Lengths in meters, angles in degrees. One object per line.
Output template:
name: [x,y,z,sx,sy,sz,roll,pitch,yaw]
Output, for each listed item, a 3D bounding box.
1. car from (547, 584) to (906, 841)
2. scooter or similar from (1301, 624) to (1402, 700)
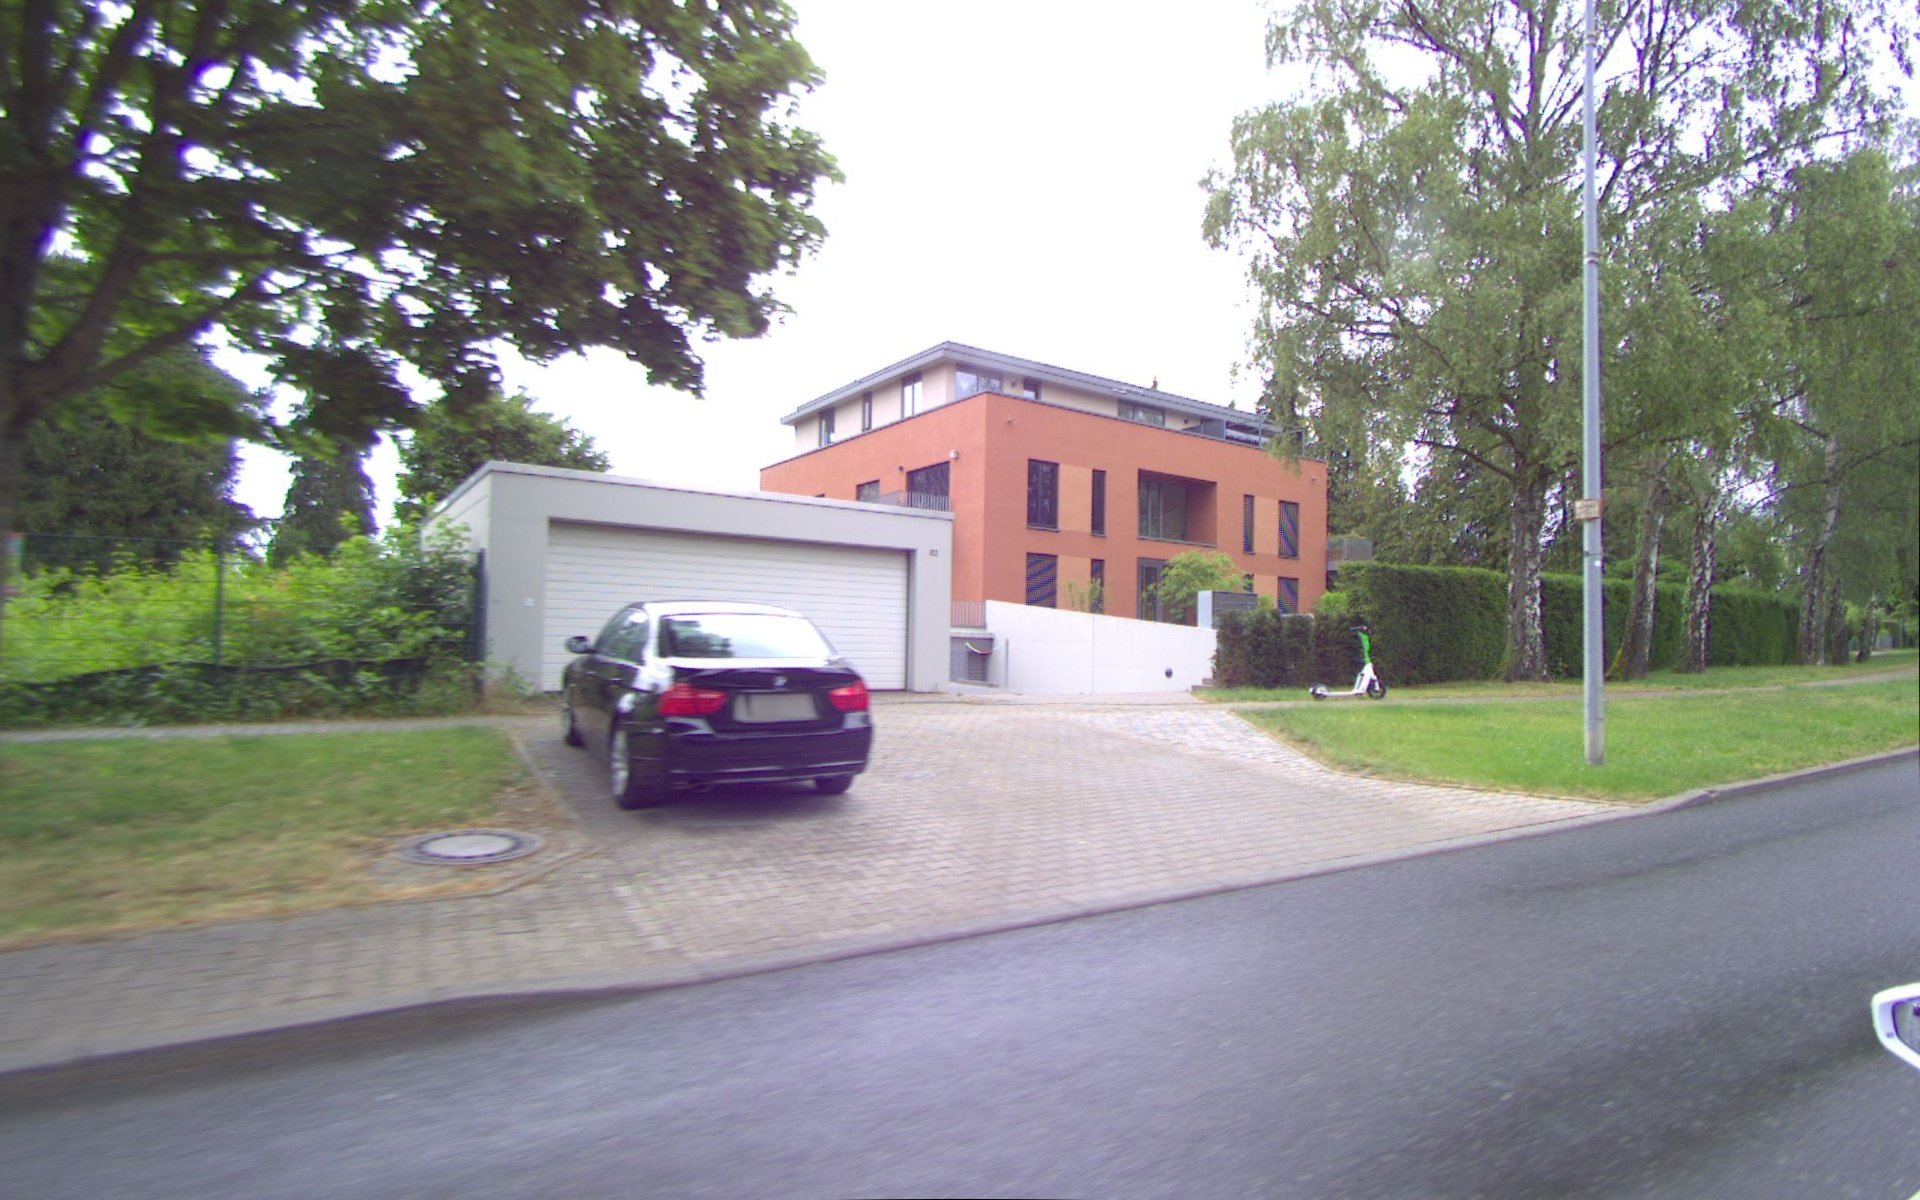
car: [-2.216,0.668,8.378,1.735,1.436,4.407,2,1,-29]
scooter or similar: [6.197,0.975,15.910,1.463,1.174,0.425,1,1,-10]
